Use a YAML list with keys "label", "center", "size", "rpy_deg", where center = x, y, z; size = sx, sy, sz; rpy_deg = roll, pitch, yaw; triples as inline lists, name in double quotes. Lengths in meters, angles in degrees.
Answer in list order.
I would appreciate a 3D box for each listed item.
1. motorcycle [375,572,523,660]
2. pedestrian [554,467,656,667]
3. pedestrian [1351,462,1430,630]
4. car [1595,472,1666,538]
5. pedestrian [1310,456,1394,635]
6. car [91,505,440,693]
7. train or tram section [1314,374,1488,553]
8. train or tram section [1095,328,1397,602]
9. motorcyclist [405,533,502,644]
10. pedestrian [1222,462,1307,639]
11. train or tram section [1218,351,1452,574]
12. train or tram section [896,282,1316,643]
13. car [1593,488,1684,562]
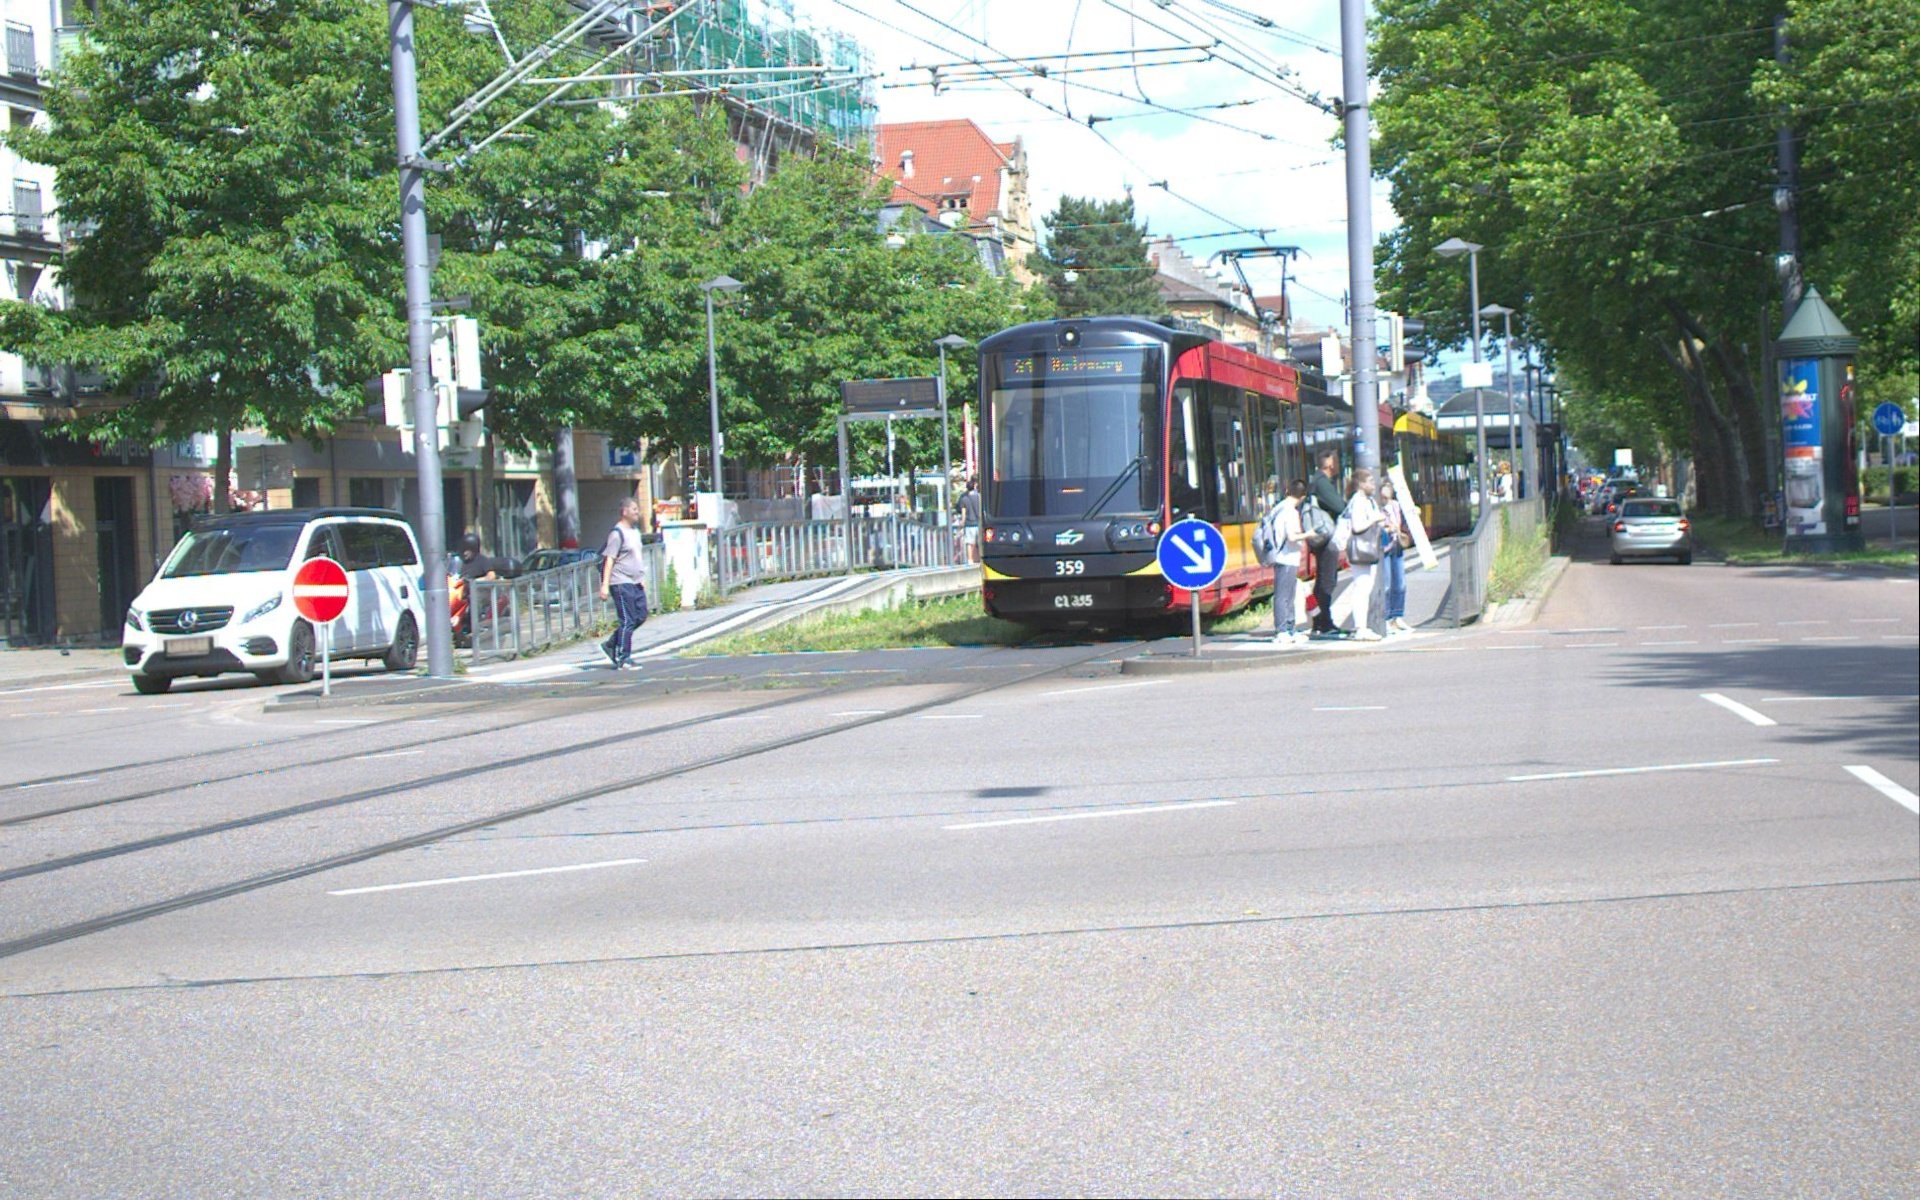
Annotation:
- label: "motorcycle"
  center: [-6.703, 0.193, 45.311]
  size: [0.894, 1.019, 3.100]
  rpy_deg: [-2, 1, 11]
- label: "pedestrian"
  center: [-3.641, -0.345, 35.298]
  size: [0.739, 2.006, 0.703]
  rpy_deg: [-2, 1, 16]
- label: "pedestrian"
  center: [4.445, -0.563, 35.470]
  size: [0.670, 1.697, 0.647]
  rpy_deg: [-2, 1, 13]
- label: "car"
  center: [21.215, -3.023, 108.708]
  size: [1.995, 2.006, 3.998]
  rpy_deg: [-1, 2, 13]
- label: "pedestrian"
  center: [3.821, -0.536, 33.517]
  size: [0.670, 1.697, 0.647]
  rpy_deg: [-2, 1, 13]
- label: "car"
  center: [-7.759, -0.075, 39.000]
  size: [1.994, 1.885, 5.170]
  rpy_deg: [-2, 2, 11]
- label: "train or tram section"
  center: [9.505, -2.881, 73.268]
  size: [2.768, 3.471, 8.903]
  rpy_deg: [-2, 1, 13]
- label: "train or tram section"
  center: [4.522, -2.015, 51.663]
  size: [2.807, 3.548, 11.176]
  rpy_deg: [-2, 2, 13]
- label: "motorcyclist"
  center: [-6.696, -0.162, 45.466]
  size: [0.894, 1.399, 1.087]
  rpy_deg: [-2, 1, 11]
- label: "pedestrian"
  center: [2.992, -0.490, 33.706]
  size: [0.670, 1.697, 0.647]
  rpy_deg: [-2, 1, 13]
- label: "train or tram section"
  center: [7.065, -2.500, 63.002]
  size: [2.807, 3.548, 12.151]
  rpy_deg: [-2, 2, 13]
- label: "train or tram section"
  center: [2.051, -1.603, 40.691]
  size: [2.797, 3.548, 11.371]
  rpy_deg: [-2, 2, 13]
- label: "car"
  center: [14.630, -1.633, 74.023]
  size: [1.749, 1.448, 3.604]
  rpy_deg: [-2, 2, 13]
